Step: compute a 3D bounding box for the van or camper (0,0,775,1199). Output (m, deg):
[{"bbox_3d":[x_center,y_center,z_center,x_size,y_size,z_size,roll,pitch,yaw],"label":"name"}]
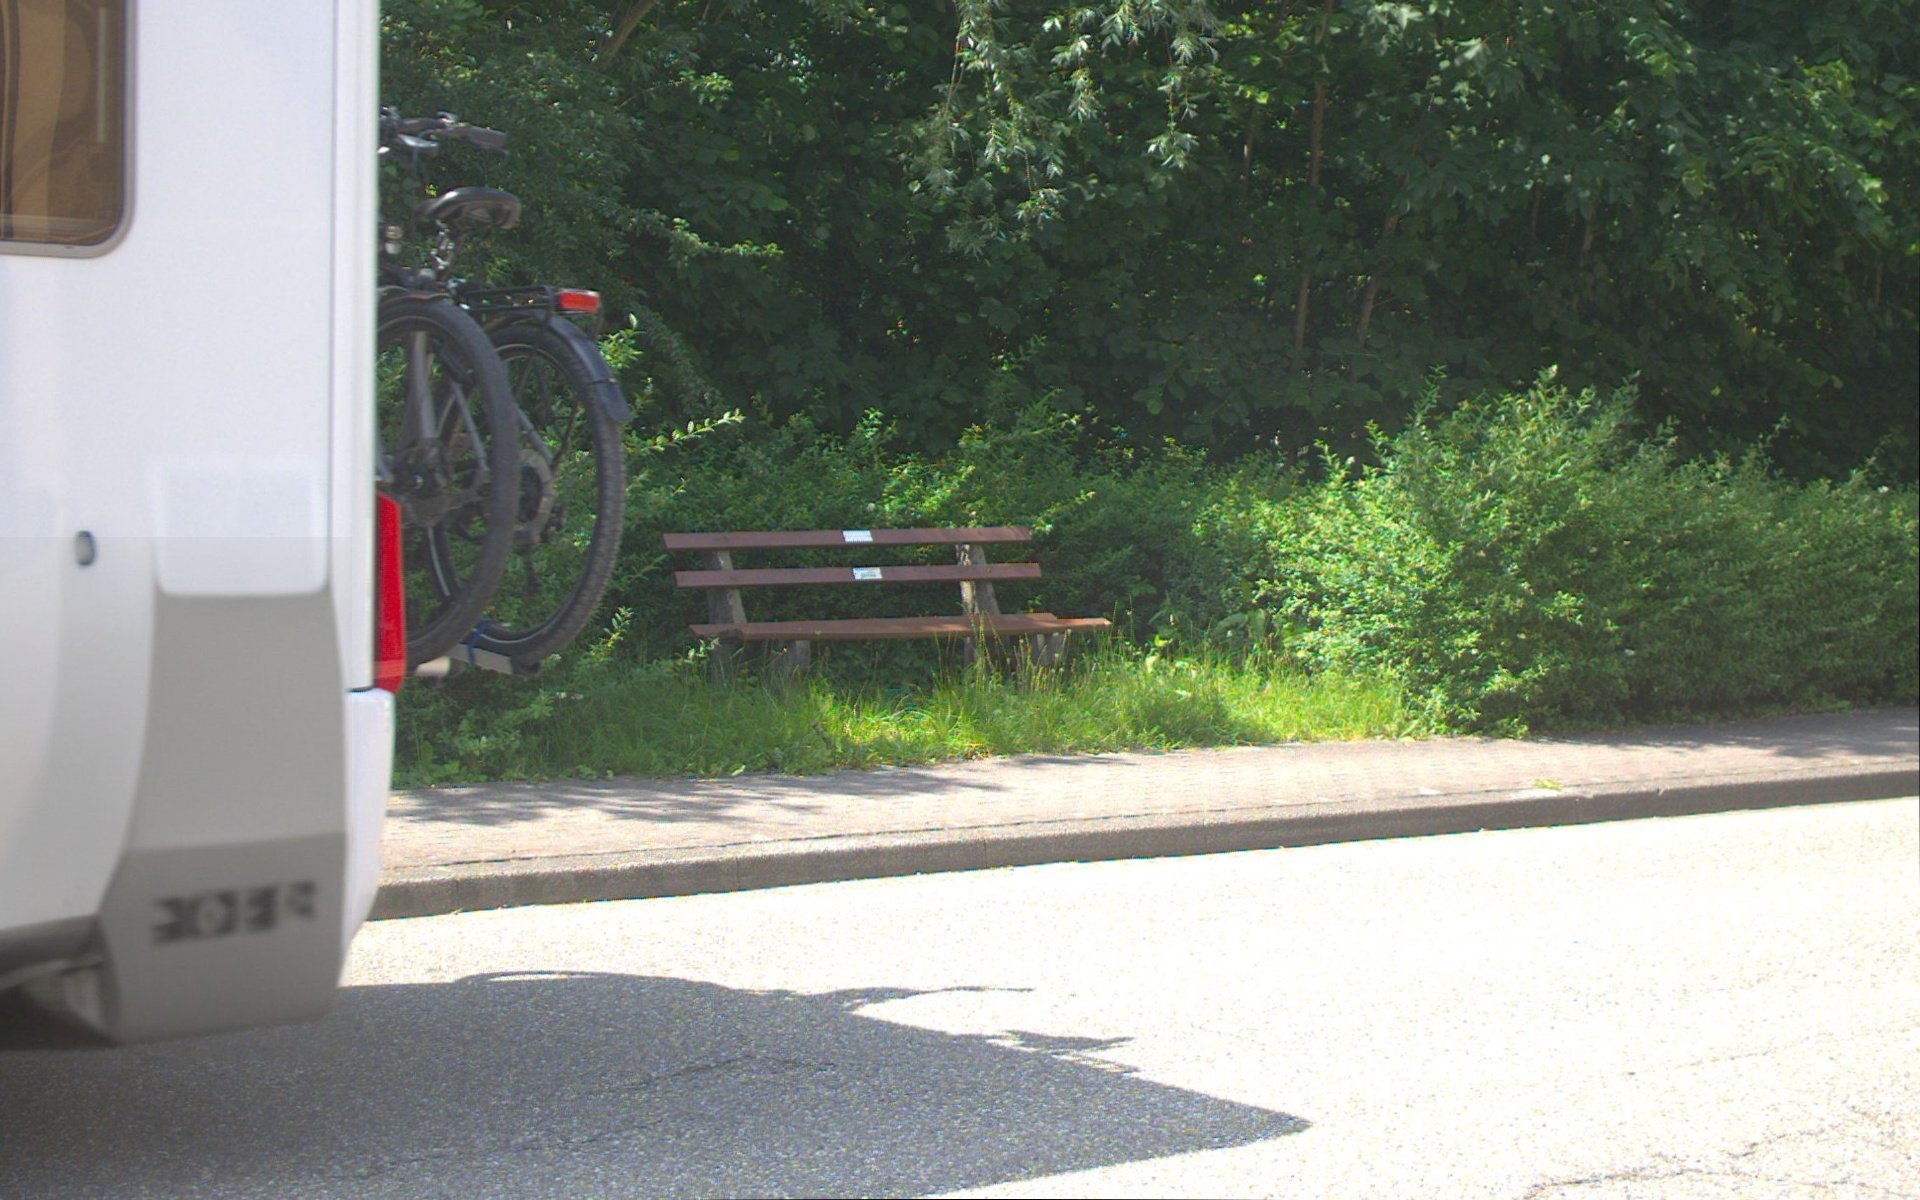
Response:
[{"bbox_3d":[-4.168,-0.464,4.839,8.028,2.942,2.365,-1,4,-41],"label":"van or camper"}]
